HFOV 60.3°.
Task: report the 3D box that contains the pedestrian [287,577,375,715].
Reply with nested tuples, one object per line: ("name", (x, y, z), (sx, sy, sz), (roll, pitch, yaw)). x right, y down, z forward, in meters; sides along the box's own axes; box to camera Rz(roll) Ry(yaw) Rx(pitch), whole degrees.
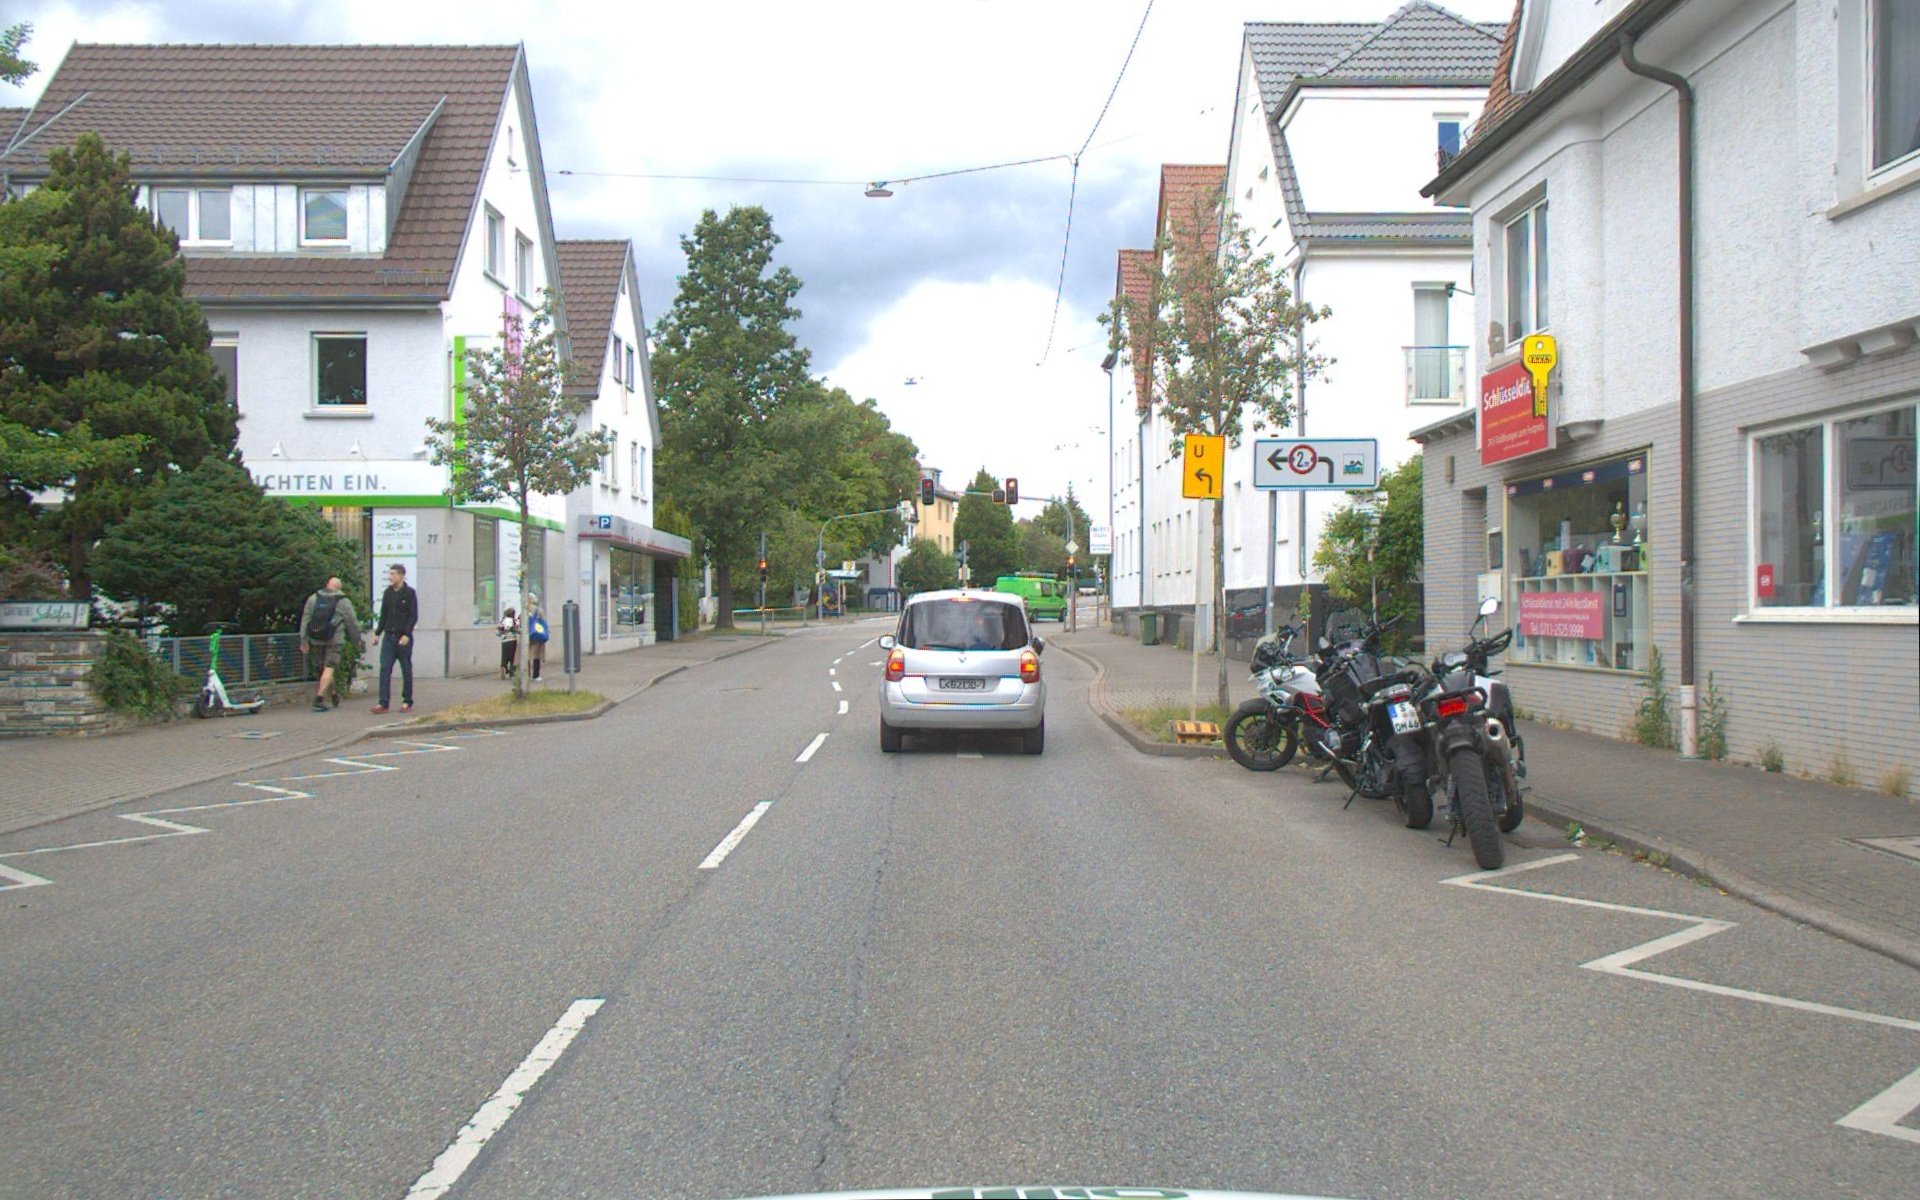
("pedestrian", (-8.377, 0.600, 22.064), (0.736, 1.774, 1.019), (2, 0, 0))

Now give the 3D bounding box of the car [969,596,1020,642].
("car", (1.195, 0.645, 58.338), (1.719, 1.557, 3.797), (0, 0, 1))

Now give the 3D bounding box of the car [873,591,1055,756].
("car", (0.059, 0.701, 17.626), (1.719, 1.557, 4.000), (0, 0, 1))

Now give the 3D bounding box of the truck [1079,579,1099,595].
("truck", (16.508, -1.651, 211.311), (2.056, 2.049, 5.752), (0, 0, 10))

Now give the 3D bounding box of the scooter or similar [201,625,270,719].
("scooter or similar", (-9.017, 0.881, 20.616), (0.332, 1.131, 1.180), (0, 0, 0))

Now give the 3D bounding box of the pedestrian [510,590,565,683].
("pedestrian", (-7.761, 0.664, 30.407), (0.736, 1.645, 0.793), (3, 0, 0))

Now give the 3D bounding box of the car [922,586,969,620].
("car", (-0.840, 0.164, 99.261), (1.885, 1.804, 4.004), (-5, 0, 11))

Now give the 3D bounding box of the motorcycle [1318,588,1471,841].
("motorcycle", (2.951, 0.704, 11.462), (0.656, 1.551, 2.599), (0, 0, 6))

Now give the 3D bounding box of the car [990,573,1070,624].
("car", (3.742, -0.071, 87.201), (2.020, 2.556, 5.586), (0, 0, 29))

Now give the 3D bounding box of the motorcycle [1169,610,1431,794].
("motorcycle", (2.797, 0.791, 13.862), (0.767, 1.405, 2.214), (0, 0, -37))

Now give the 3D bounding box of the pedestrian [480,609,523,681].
("pedestrian", (-8.491, 0.822, 30.642), (0.587, 1.302, 0.655), (1, 0, 0))

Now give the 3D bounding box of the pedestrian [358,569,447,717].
("pedestrian", (-7.382, 0.554, 21.925), (0.736, 1.881, 1.019), (3, 0, 0))

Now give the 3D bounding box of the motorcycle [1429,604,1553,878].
("motorcycle", (3.259, 0.759, 10.117), (0.634, 1.465, 2.470), (0, 0, 18))

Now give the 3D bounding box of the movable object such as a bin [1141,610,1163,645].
("movable object such as a bin", (5.474, 0.773, 47.224), (0.529, 0.957, 0.487), (-3, 0, 1))
